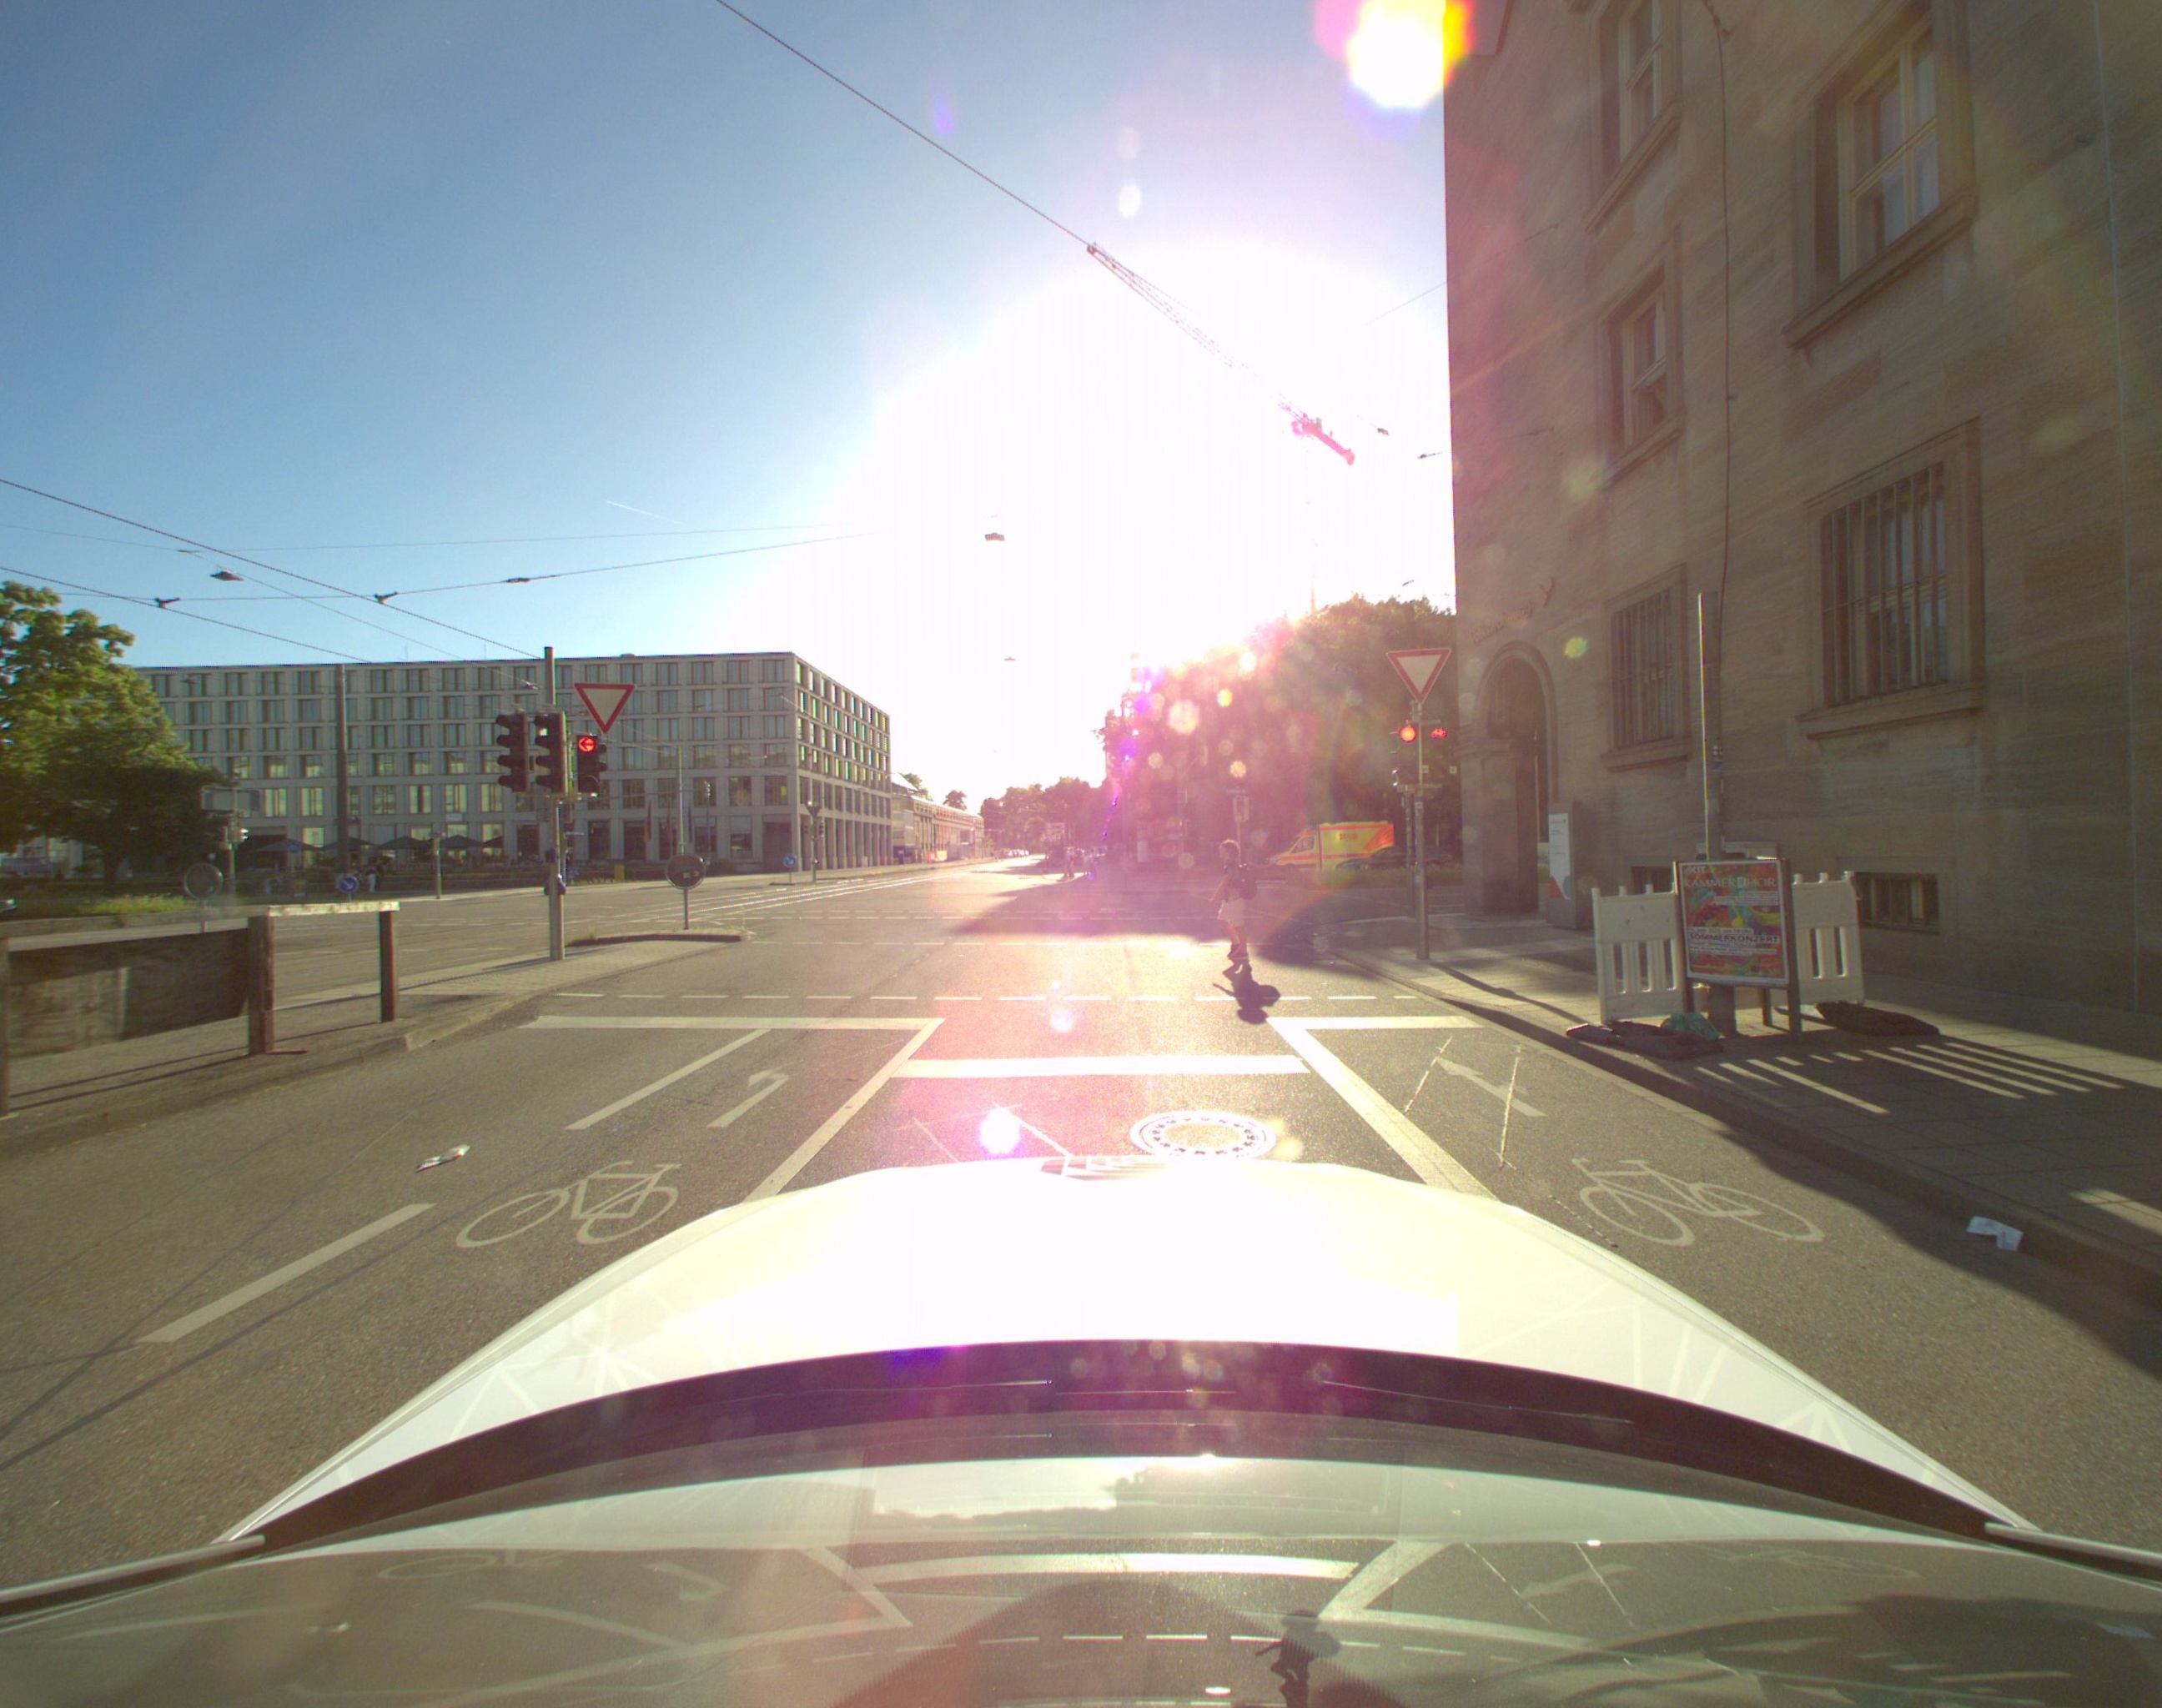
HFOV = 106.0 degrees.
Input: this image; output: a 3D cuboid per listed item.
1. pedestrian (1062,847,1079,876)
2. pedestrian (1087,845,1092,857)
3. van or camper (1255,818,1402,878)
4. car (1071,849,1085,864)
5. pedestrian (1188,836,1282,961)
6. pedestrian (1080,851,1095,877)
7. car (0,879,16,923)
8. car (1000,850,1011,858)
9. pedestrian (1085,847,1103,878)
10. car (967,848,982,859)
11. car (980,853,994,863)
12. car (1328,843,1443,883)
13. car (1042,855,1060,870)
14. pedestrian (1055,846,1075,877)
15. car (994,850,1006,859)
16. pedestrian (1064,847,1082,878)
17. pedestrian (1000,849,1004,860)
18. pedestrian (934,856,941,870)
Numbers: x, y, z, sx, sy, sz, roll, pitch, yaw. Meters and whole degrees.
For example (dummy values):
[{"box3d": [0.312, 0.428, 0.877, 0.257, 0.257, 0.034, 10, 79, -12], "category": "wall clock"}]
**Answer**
[{"box3d": [-0.636, 0.447, 49.913, 0.849, 1.784, 0.776, -1, 0, -15], "category": "pedestrian"}, {"box3d": [2.680, -0.920, 248.468, 1.396, 3.597, 1.568, 0, -1, 1], "category": "pedestrian"}, {"box3d": [12.259, -0.293, 40.913, 6.674, 2.861, 2.915, 0, -1, 6], "category": "van or camper"}, {"box3d": [-0.363, 0.344, 110.207, 1.678, 1.962, 3.510, 0, -1, 2], "category": "car"}, {"box3d": [2.239, 0.622, 11.993, 1.039, 1.721, 1.032, -1, 0, -10], "category": "pedestrian"}, {"box3d": [0.391, 0.621, 49.428, 0.763, 1.558, 0.585, -1, 0, -15], "category": "pedestrian"}, {"box3d": [-38.983, 1.658, 27.678, 3.519, 1.506, 1.522, -1, 0, -1], "category": "car"}, {"box3d": [-15.108, -0.023, 163.060, 1.604, 1.498, 3.807, -2, 0, 2], "category": "car"}, {"box3d": [0.788, 0.493, 48.742, 0.849, 1.784, 0.776, -1, 0, -15], "category": "pedestrian"}, {"box3d": [-17.816, -0.090, 136.484, 1.812, 1.712, 3.807, -2, 0, 2], "category": "car"}, {"box3d": [-16.951, 0.775, 147.194, 1.812, 1.712, 3.807, -2, 0, 2], "category": "car"}, {"box3d": [13.087, 0.374, 35.158, 4.297, 1.647, 1.889, 0, -1, 2], "category": "car"}, {"box3d": [-3.111, 0.857, 85.315, 1.678, 1.501, 3.510, 0, -1, 2], "category": "car"}, {"box3d": [-0.936, 0.427, 47.147, 0.967, 1.784, 0.776, -1, 0, -15], "category": "pedestrian"}, {"box3d": [-15.778, 0.065, 159.224, 1.812, 1.712, 3.807, -2, 0, 2], "category": "car"}, {"box3d": [-0.495, 0.512, 49.061, 0.849, 1.784, 0.776, -1, 0, -15], "category": "pedestrian"}, {"box3d": [-11.293, 0.047, 117.040, 0.522, 1.484, 0.437, 0, -1, 0], "category": "pedestrian"}, {"box3d": [-12.961, 0.813, 73.667, 0.509, 1.329, 0.370, -1, 0, 3], "category": "pedestrian"}]
